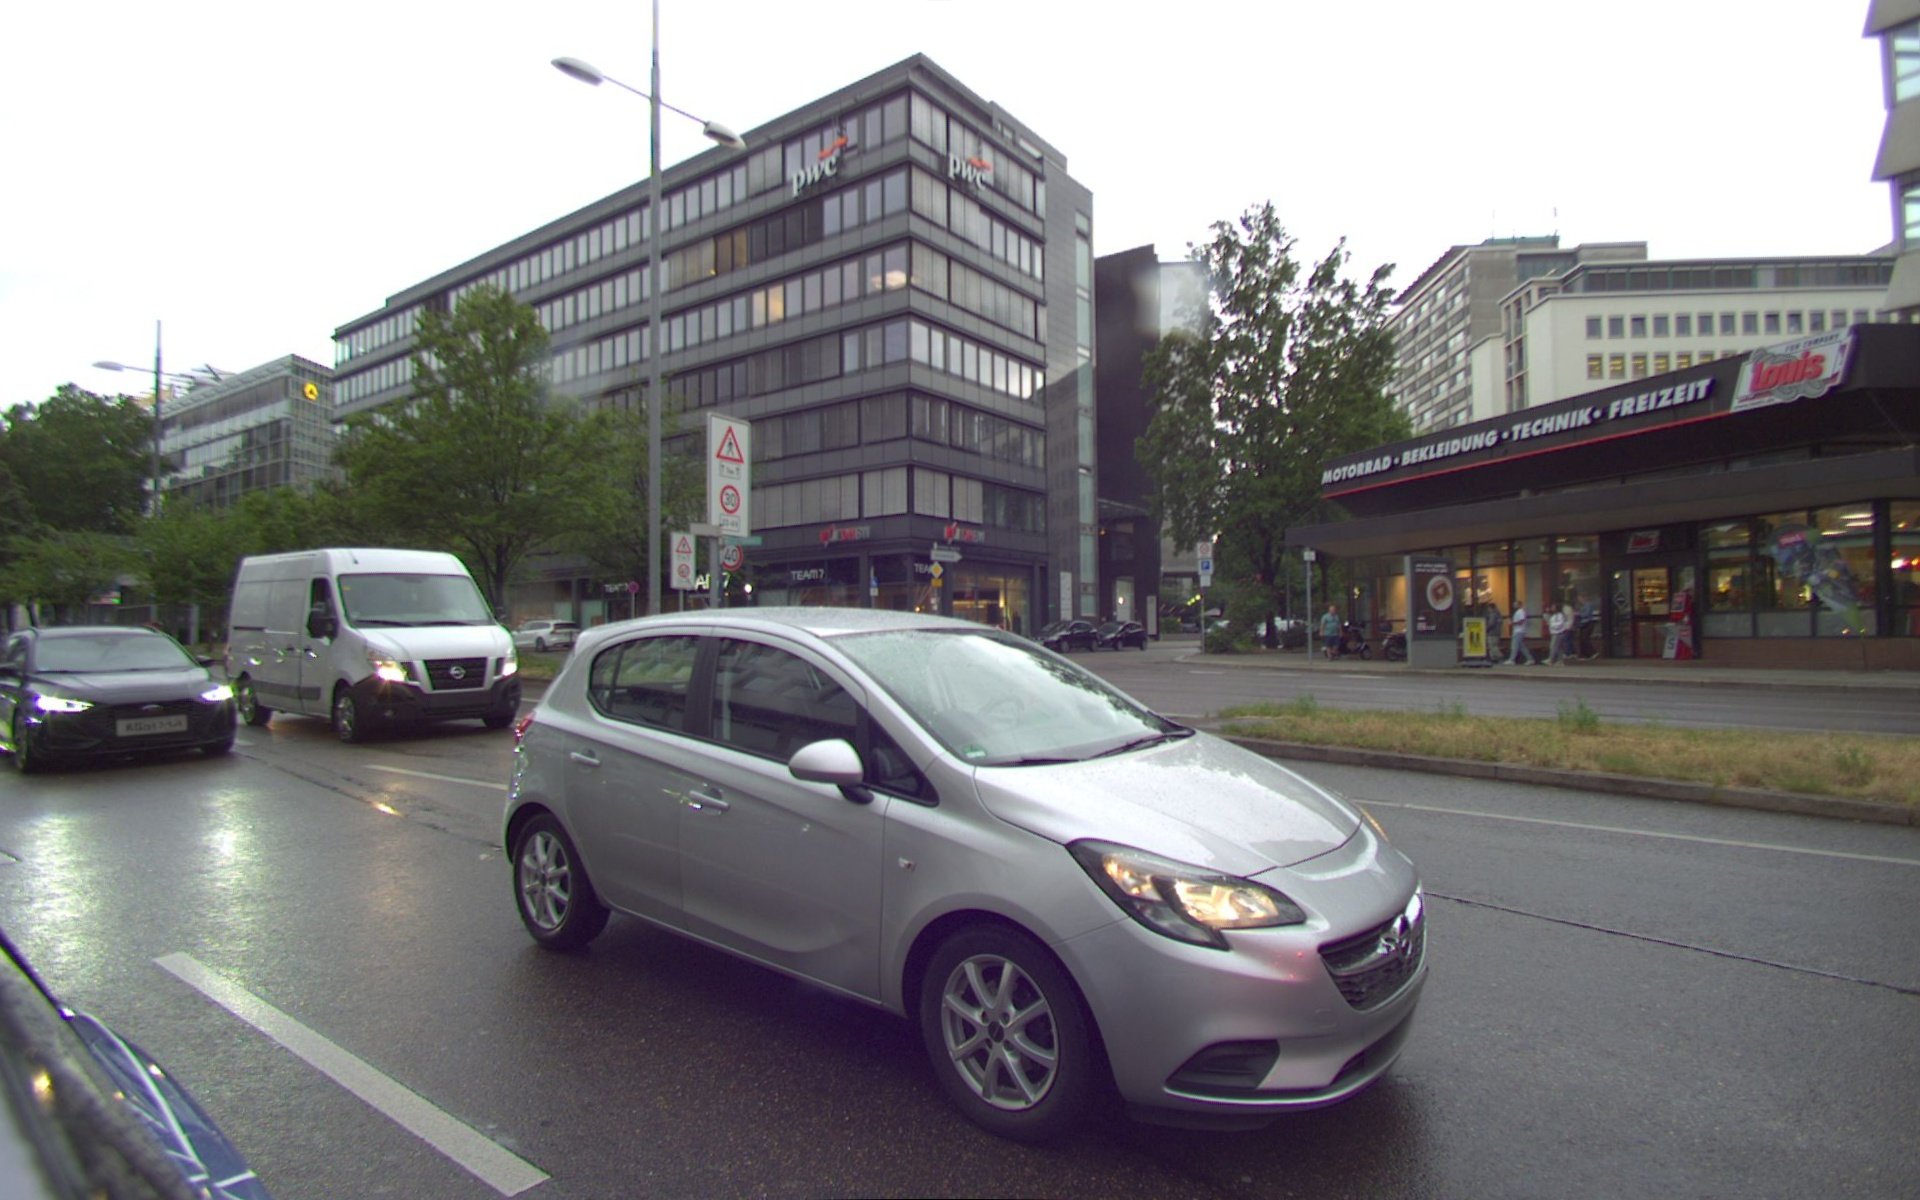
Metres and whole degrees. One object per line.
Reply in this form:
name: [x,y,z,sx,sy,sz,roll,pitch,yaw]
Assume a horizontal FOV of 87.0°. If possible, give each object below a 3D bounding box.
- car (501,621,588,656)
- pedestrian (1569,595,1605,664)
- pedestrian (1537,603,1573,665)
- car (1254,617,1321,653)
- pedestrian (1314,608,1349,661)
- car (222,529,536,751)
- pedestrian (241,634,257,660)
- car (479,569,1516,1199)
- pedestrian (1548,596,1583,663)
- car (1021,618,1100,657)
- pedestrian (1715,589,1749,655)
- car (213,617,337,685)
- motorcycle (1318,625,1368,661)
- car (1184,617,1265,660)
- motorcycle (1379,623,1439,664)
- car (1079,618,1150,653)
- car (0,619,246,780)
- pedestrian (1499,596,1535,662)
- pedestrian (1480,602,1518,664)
car: [-19.407,1.785,47.239,3.992,1.518,1.975,-2,-1,36]
pedestrian: [16.206,0.768,26.162,0.532,1.757,0.560,0,-1,-29]
pedestrian: [15.373,0.866,26.149,0.532,1.582,0.560,0,-1,-29]
car: [15.568,1.627,48.031,1.847,1.596,3.716,-2,-1,37]
pedestrian: [11.733,1.086,31.980,0.721,1.661,0.702,-1,-1,-19]
car: [-8.042,0.499,13.721,5.475,2.459,1.927,-2,-1,40]
pedestrian: [-54.988,3.624,78.274,0.539,2.029,0.917,-2,-1,39]
car: [-0.176,0.699,3.968,3.872,1.446,1.631,-2,-1,40]
pedestrian: [16.096,0.769,26.889,0.532,1.757,0.560,0,-1,-29]
car: [4.543,1.660,45.463,1.847,1.596,3.716,-2,-1,37]
pedestrian: [20.530,0.584,26.913,0.501,1.731,0.447,-1,-1,-16]
car: [-17.705,1.276,26.110,3.492,1.630,1.744,-2,-1,39]
motorcycle: [12.969,1.456,34.271,1.600,1.153,0.360,-1,-1,-8]
car: [10.671,1.505,40.630,1.847,1.596,3.716,-2,-1,37]
motorcycle: [13.838,1.344,31.218,1.646,1.242,0.360,-1,-1,2]
car: [7.577,1.716,49.459,1.847,1.596,3.716,-2,-1,37]
car: [-9.719,0.978,11.242,4.087,1.446,1.755,-2,-1,37]
pedestrian: [15.065,0.789,27.366,0.605,1.757,0.560,0,-1,-29]
pedestrian: [14.373,0.862,27.000,0.605,1.623,0.614,0,-1,-29]
